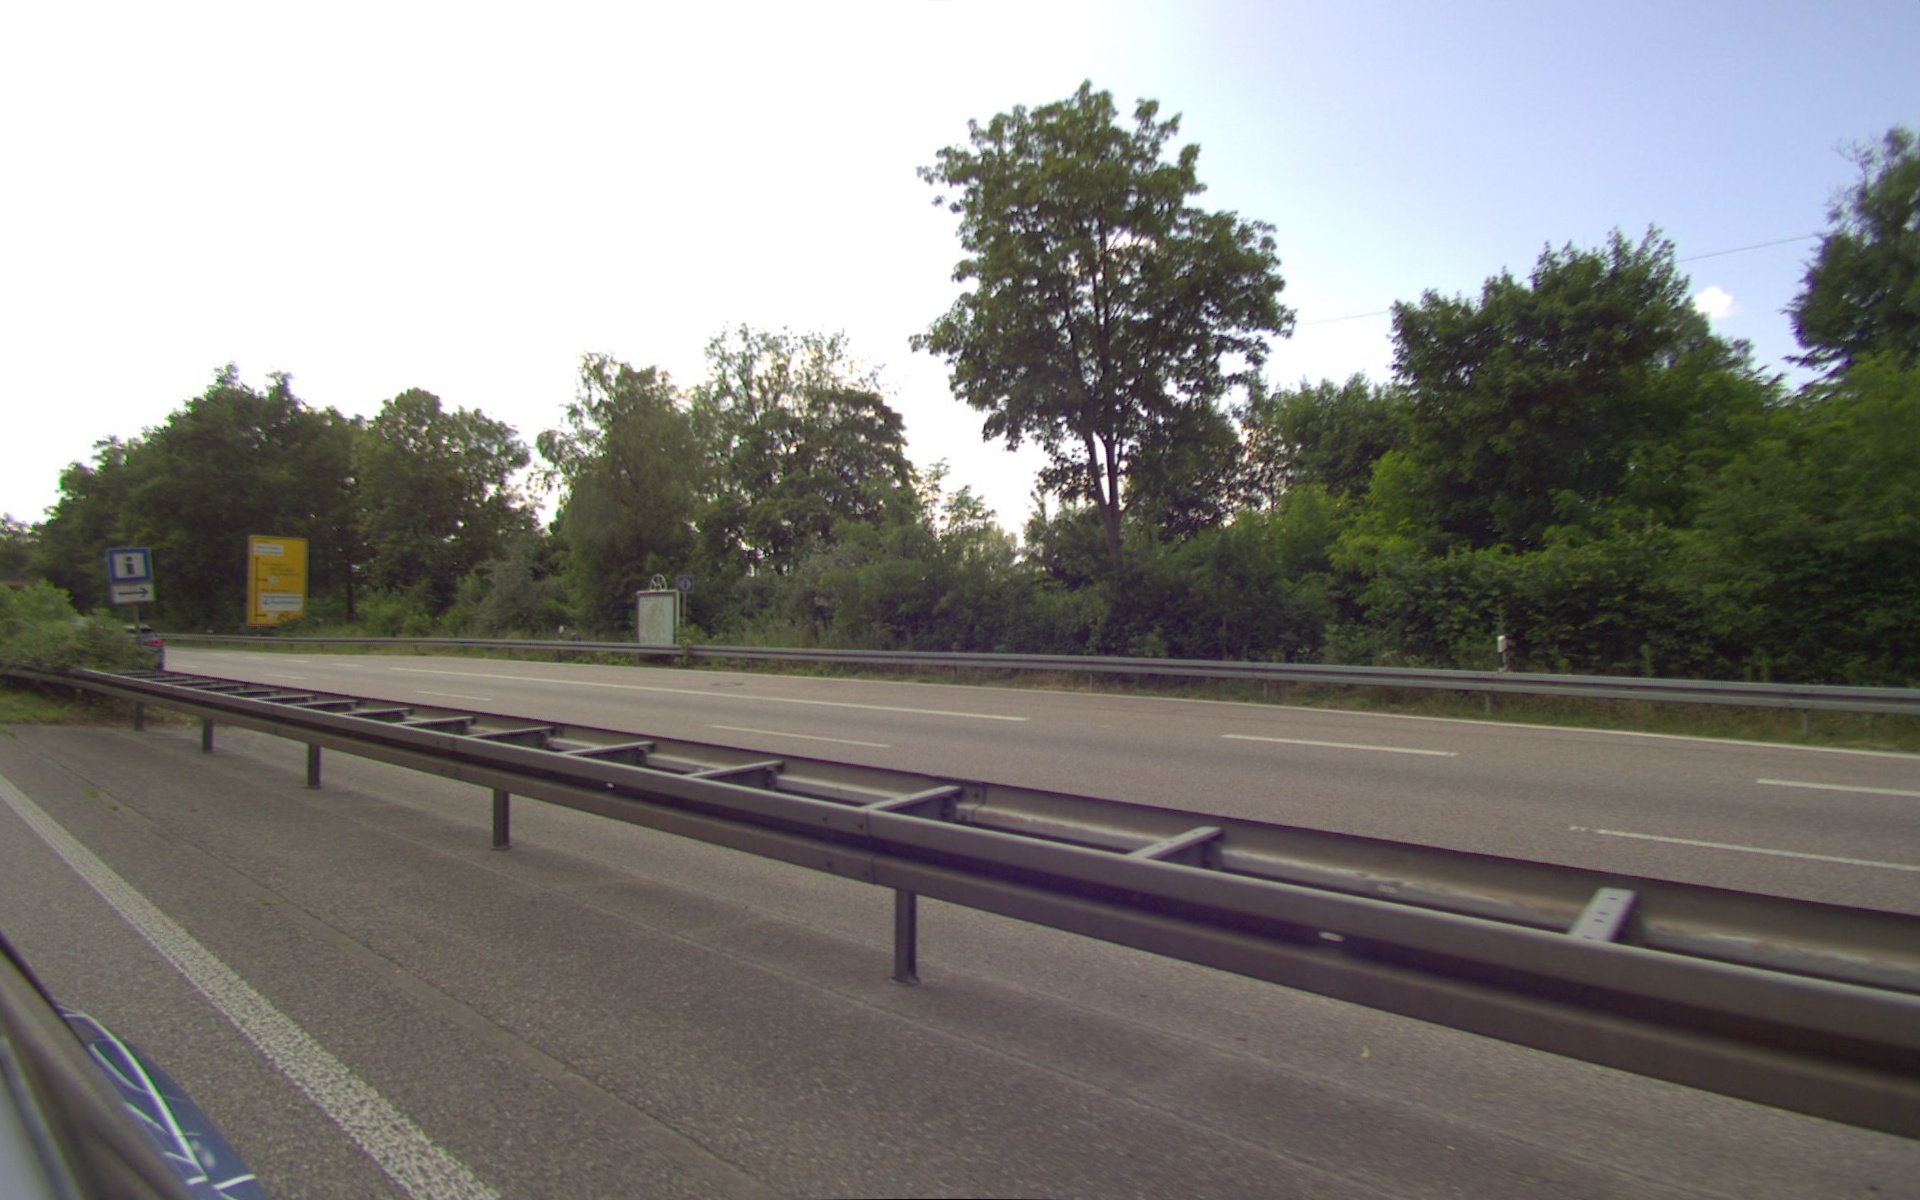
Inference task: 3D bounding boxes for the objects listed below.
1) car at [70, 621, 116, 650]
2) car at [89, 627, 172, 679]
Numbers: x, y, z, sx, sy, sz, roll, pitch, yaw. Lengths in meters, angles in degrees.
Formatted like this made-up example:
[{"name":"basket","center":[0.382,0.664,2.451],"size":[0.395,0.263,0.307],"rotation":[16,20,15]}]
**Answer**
[{"name":"car","center":[-59.890,2.420,69.869],"size":[3.998,1.963,1.843],"rotation":[-1,-2,42]},{"name":"car","center":[-27.730,1.724,33.808],"size":[3.531,1.620,1.569],"rotation":[-1,-2,41]}]
